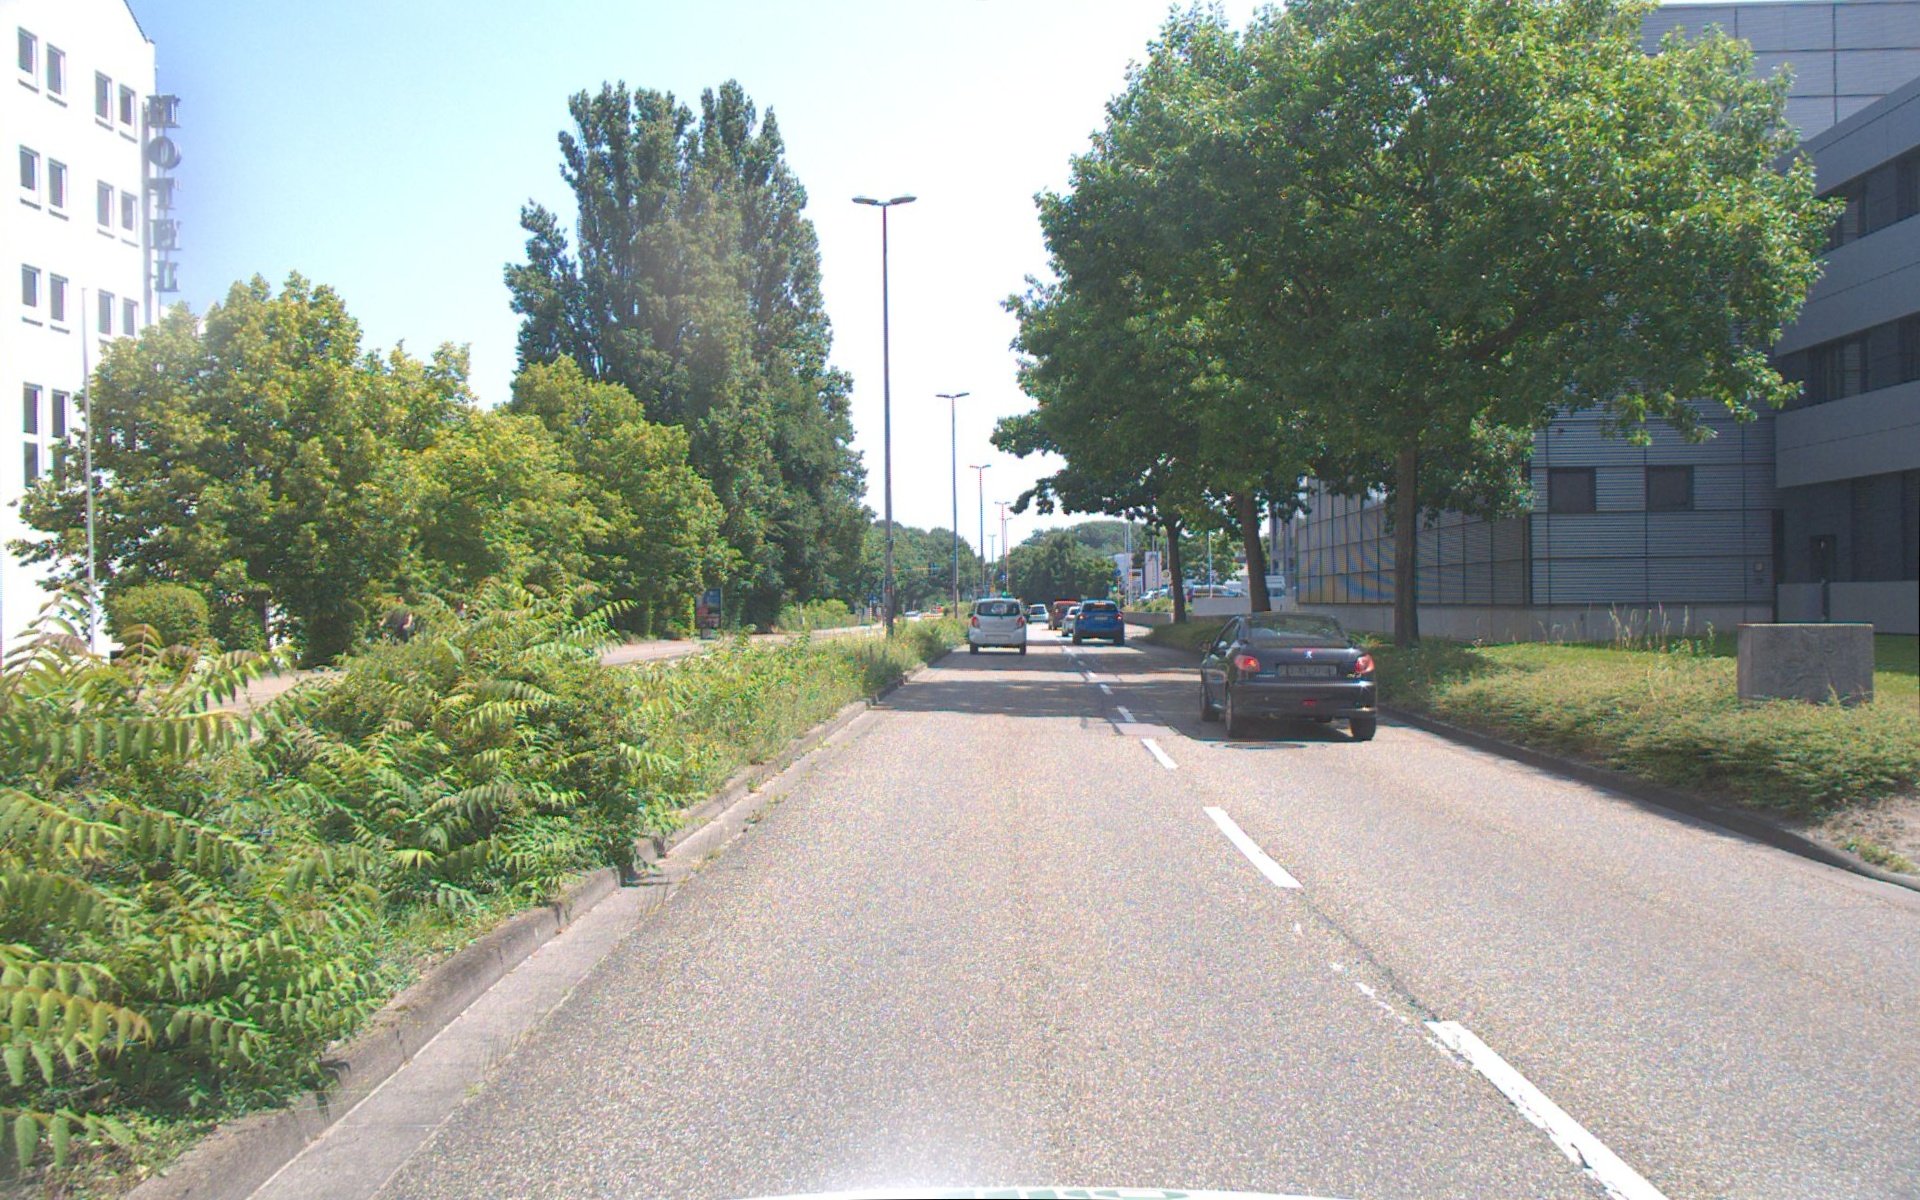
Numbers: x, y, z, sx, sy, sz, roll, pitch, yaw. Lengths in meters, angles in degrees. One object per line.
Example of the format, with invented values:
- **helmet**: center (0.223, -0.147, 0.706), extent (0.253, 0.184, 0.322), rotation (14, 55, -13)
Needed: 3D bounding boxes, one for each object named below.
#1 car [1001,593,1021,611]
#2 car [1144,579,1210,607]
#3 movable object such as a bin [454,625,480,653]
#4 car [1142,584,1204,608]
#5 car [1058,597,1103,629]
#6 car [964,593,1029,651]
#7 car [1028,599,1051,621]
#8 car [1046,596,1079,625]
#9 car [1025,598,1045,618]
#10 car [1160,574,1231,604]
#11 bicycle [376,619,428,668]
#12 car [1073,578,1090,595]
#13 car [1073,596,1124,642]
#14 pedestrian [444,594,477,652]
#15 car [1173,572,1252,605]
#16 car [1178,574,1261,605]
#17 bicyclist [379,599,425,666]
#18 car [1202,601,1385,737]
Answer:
- **car**: center (5.102, 0.217, 165.625), extent (1.783, 1.691, 3.999), rotation (-1, 1, -2)
- **car**: center (14.339, -0.429, 109.475), extent (4.139, 1.676, 2.000), rotation (-2, 0, 1)
- **movable object such as a bin**: center (-13.390, 1.052, 44.933), extent (0.419, 0.718, 0.653), rotation (-2, 0, 11)
- **car**: center (16.072, -0.298, 125.062), extent (4.441, 1.571, 2.000), rotation (-2, 0, 2)
- **car**: center (5.796, 0.608, 79.879), extent (1.952, 1.467, 4.001), rotation (-1, 0, 2)
- **car**: center (1.071, 0.584, 46.871), extent (1.711, 1.546, 3.747), rotation (0, 1, 4)
- **car**: center (6.621, 0.816, 138.422), extent (1.782, 1.691, 4.001), rotation (-1, 0, 1)
- **car**: center (6.511, 0.673, 105.343), extent (1.740, 1.771, 3.999), rotation (-1, 0, -1)
- **car**: center (6.713, 0.720, 148.401), extent (1.760, 1.719, 4.001), rotation (-2, 0, 2)
- **car**: center (14.676, -0.671, 103.092), extent (4.139, 1.676, 2.000), rotation (-2, 0, 1)
- **bicycle**: center (-13.129, 1.000, 38.965), extent (0.539, 1.092, 2.062), rotation (0, 0, -1)
- **car**: center (15.019, -1.715, 204.886), extent (1.734, 2.049, 3.990), rotation (-2, 0, -1)
- **car**: center (5.138, 0.693, 61.250), extent (1.789, 1.608, 3.607), rotation (-1, 0, 5)
- **pedestrian**: center (-13.688, 0.627, 45.346), extent (0.619, 1.572, 0.727), rotation (-2, 0, 2)
- **car**: center (13.642, -0.631, 89.440), extent (3.906, 1.647, 2.000), rotation (-1, 0, -1)
- **car**: center (14.770, -0.581, 94.343), extent (4.406, 1.610, 2.000), rotation (-2, 0, 1)
- **bicyclist**: center (-13.150, 0.750, 38.977), extent (0.703, 1.542, 1.026), rotation (-2, 0, -1)
- **car**: center (3.809, 0.731, 19.392), extent (1.593, 1.388, 3.607), rotation (0, 1, 3)
